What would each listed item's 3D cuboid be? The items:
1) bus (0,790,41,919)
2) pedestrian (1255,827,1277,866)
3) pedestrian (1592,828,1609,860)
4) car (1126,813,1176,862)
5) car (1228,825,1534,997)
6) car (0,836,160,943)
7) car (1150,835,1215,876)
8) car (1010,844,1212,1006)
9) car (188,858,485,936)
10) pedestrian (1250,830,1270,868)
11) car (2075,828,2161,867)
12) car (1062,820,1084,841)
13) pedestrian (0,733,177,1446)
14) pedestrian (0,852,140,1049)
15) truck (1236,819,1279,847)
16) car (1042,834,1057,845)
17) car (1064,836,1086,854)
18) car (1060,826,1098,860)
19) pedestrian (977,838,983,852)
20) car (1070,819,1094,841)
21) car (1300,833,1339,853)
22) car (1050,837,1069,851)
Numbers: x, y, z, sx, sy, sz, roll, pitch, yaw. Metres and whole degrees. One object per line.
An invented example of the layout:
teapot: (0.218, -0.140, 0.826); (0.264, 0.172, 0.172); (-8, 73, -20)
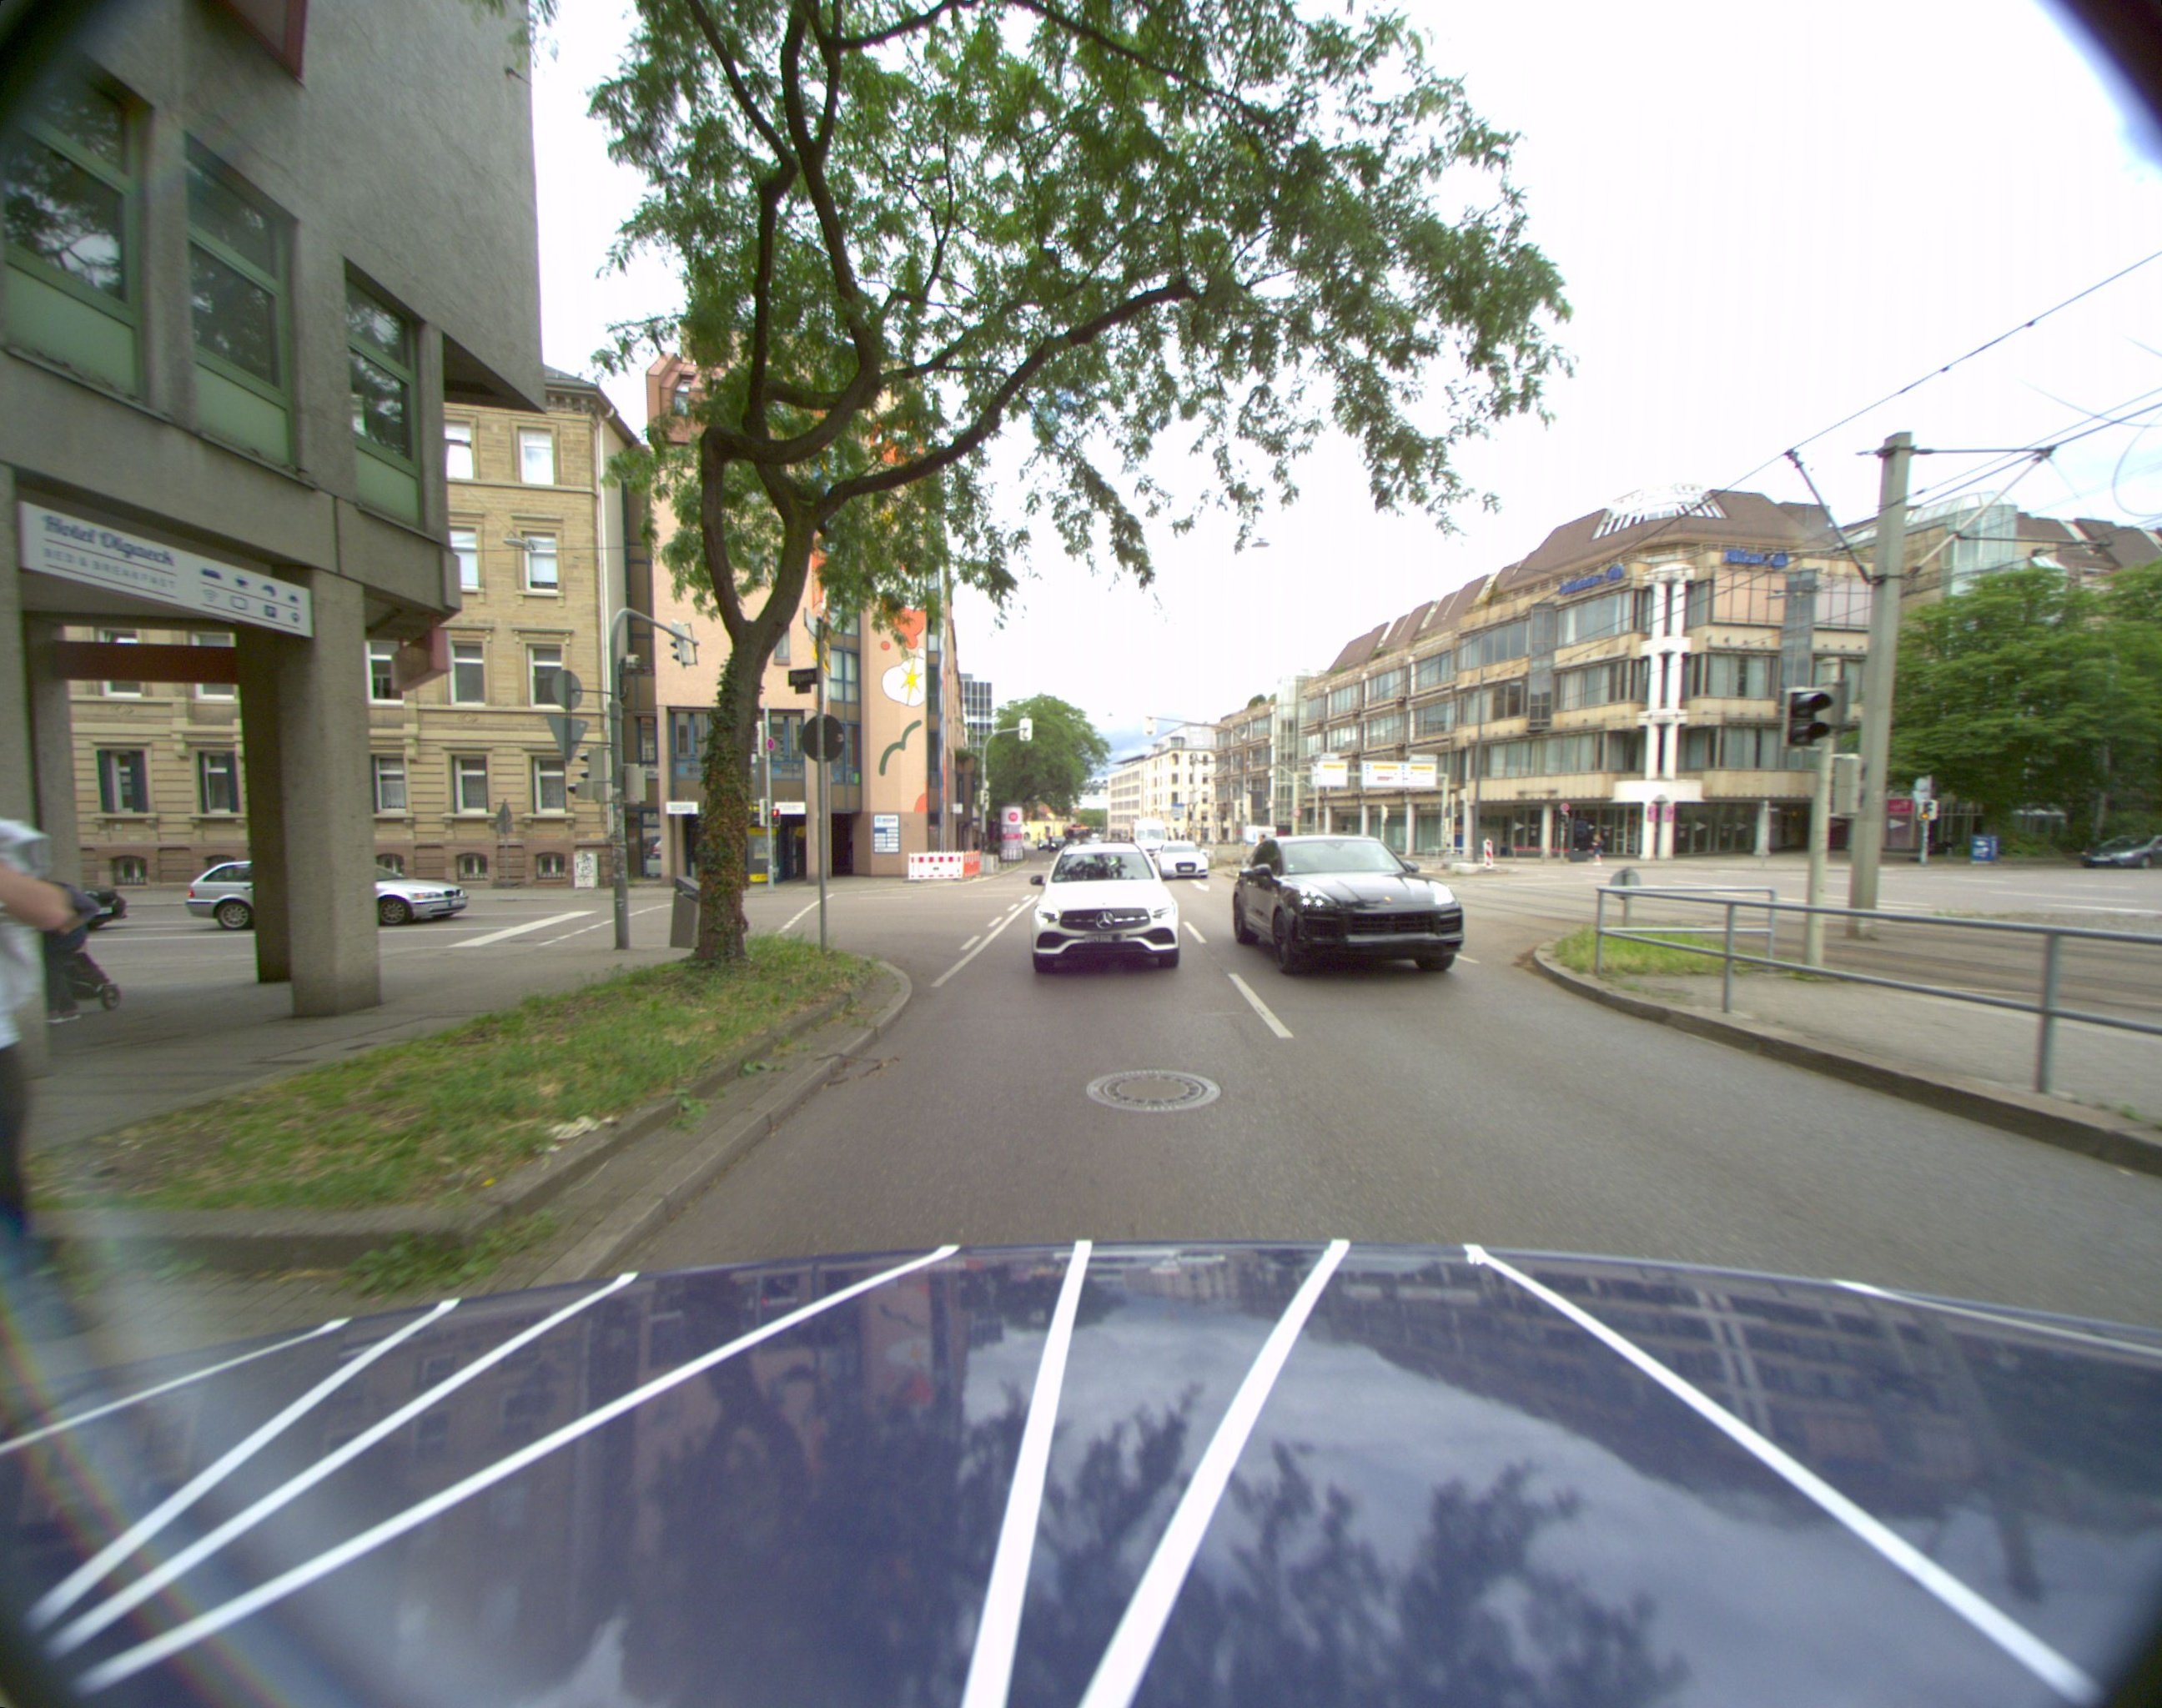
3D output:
bus: (-31.051, 0.104, 16.136); (11.594, 3.026, 2.871); (-1, 2, -11)
pedestrian: (8.251, -0.348, 33.941); (0.794, 1.712, 0.772); (0, 2, -1)
pedestrian: (28.585, -0.563, 41.792); (0.511, 1.770, 0.577); (0, 2, 2)
car: (4.122, -1.026, 45.657); (2.282, 2.744, 5.937); (-1, 2, -1)
car: (3.447, 0.521, 10.103); (2.088, 1.665, 5.351); (-1, 1, 2)
car: (-21.641, 0.660, 14.823); (4.271, 2.002, 1.997); (-1, 2, -12)
car: (4.073, 0.003, 31.179); (1.950, 1.522, 3.997); (-1, 2, -3)
car: (0.167, 0.731, 10.124); (2.061, 1.599, 3.923); (-2, 2, -7)
car: (-15.724, 0.855, 16.330); (4.162, 1.420, 1.852); (-1, 2, -12)
pedestrian: (8.203, -0.249, 34.795); (0.766, 1.712, 0.637); (0, 2, -1)
car: (45.678, -0.333, 32.832); (4.002, 1.522, 1.947); (-2, 2, -16)
car: (-1.116, -3.268, 104.661); (2.504, 2.793, 5.723); (-2, 2, -5)
pedestrian: (-3.201, 0.617, 1.963); (0.736, 1.864, 0.733); (-1, 2, -4)
pedestrian: (-9.770, 0.847, 7.246); (1.122, 1.703, 0.858); (1, 2, 34)
truck: (20.369, -2.424, 88.231); (2.274, 3.059, 7.366); (1, 2, -7)
car: (-4.376, -2.028, 104.924); (1.950, 1.522, 3.997); (-1, 2, -3)
car: (-0.580, -0.854, 70.947); (1.950, 1.522, 3.997); (-1, 2, -3)
car: (-0.119, -0.824, 52.949); (2.503, 2.145, 5.725); (-1, 2, 0)
pedestrian: (-11.988, -1.054, 90.171); (0.711, 1.701, 0.687); (0, 1, 0)
car: (0.108, -3.077, 97.294); (2.504, 2.793, 5.723); (-2, 2, -5)
car: (22.217, -1.017, 71.031); (1.679, 1.749, 4.777); (-2, 2, -7)
car: (-2.399, -1.125, 84.391); (1.950, 1.522, 3.997); (-1, 2, -3)
